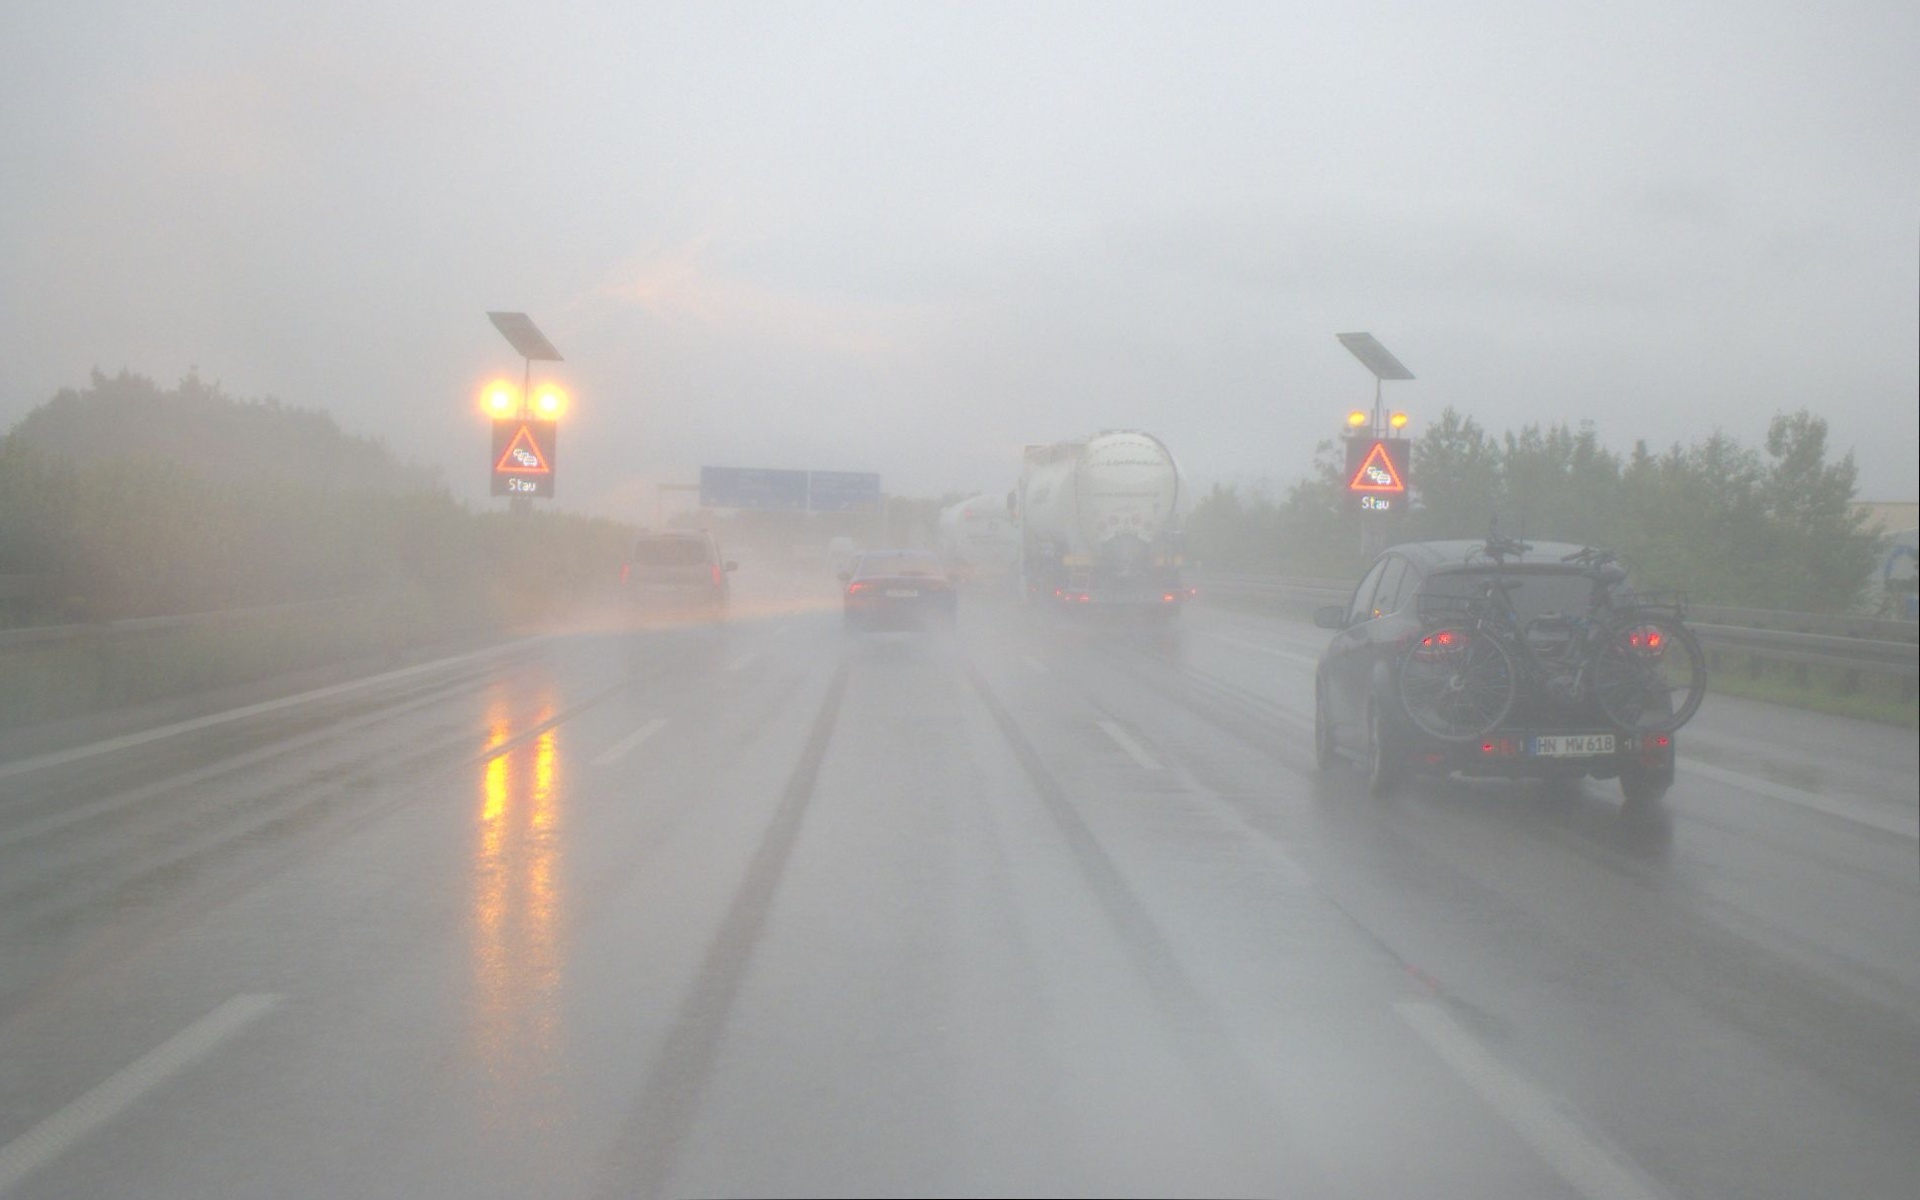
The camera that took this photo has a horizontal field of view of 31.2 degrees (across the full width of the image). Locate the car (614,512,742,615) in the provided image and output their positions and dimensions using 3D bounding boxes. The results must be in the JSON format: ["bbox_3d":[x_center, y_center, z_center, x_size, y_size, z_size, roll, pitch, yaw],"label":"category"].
[{"bbox_3d":[-4.943,-0.663,60.799,1.925,1.735,4.404,1,1,-1],"label":"car"}]

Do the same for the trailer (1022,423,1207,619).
[{"bbox_3d":[3.022,-1.597,70.587,3.188,3.657,11.667,1,1,0],"label":"trailer"}]

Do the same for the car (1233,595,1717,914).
[{"bbox_3d":[3.213,0.892,22.819,2.457,1.740,5.719,1,1,1],"label":"car"}]

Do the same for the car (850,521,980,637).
[{"bbox_3d":[-0.711,-0.367,54.856,1.978,1.750,4.482,1,1,-1],"label":"car"}]

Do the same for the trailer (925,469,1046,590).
[{"bbox_3d":[0.779,-2.347,113.886,3.004,3.834,8.626,1,1,-6],"label":"trailer"}]

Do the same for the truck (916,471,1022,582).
[{"bbox_3d":[0.259,-2.507,117.827,2.943,3.671,6.363,1,1,-6],"label":"truck"}]
